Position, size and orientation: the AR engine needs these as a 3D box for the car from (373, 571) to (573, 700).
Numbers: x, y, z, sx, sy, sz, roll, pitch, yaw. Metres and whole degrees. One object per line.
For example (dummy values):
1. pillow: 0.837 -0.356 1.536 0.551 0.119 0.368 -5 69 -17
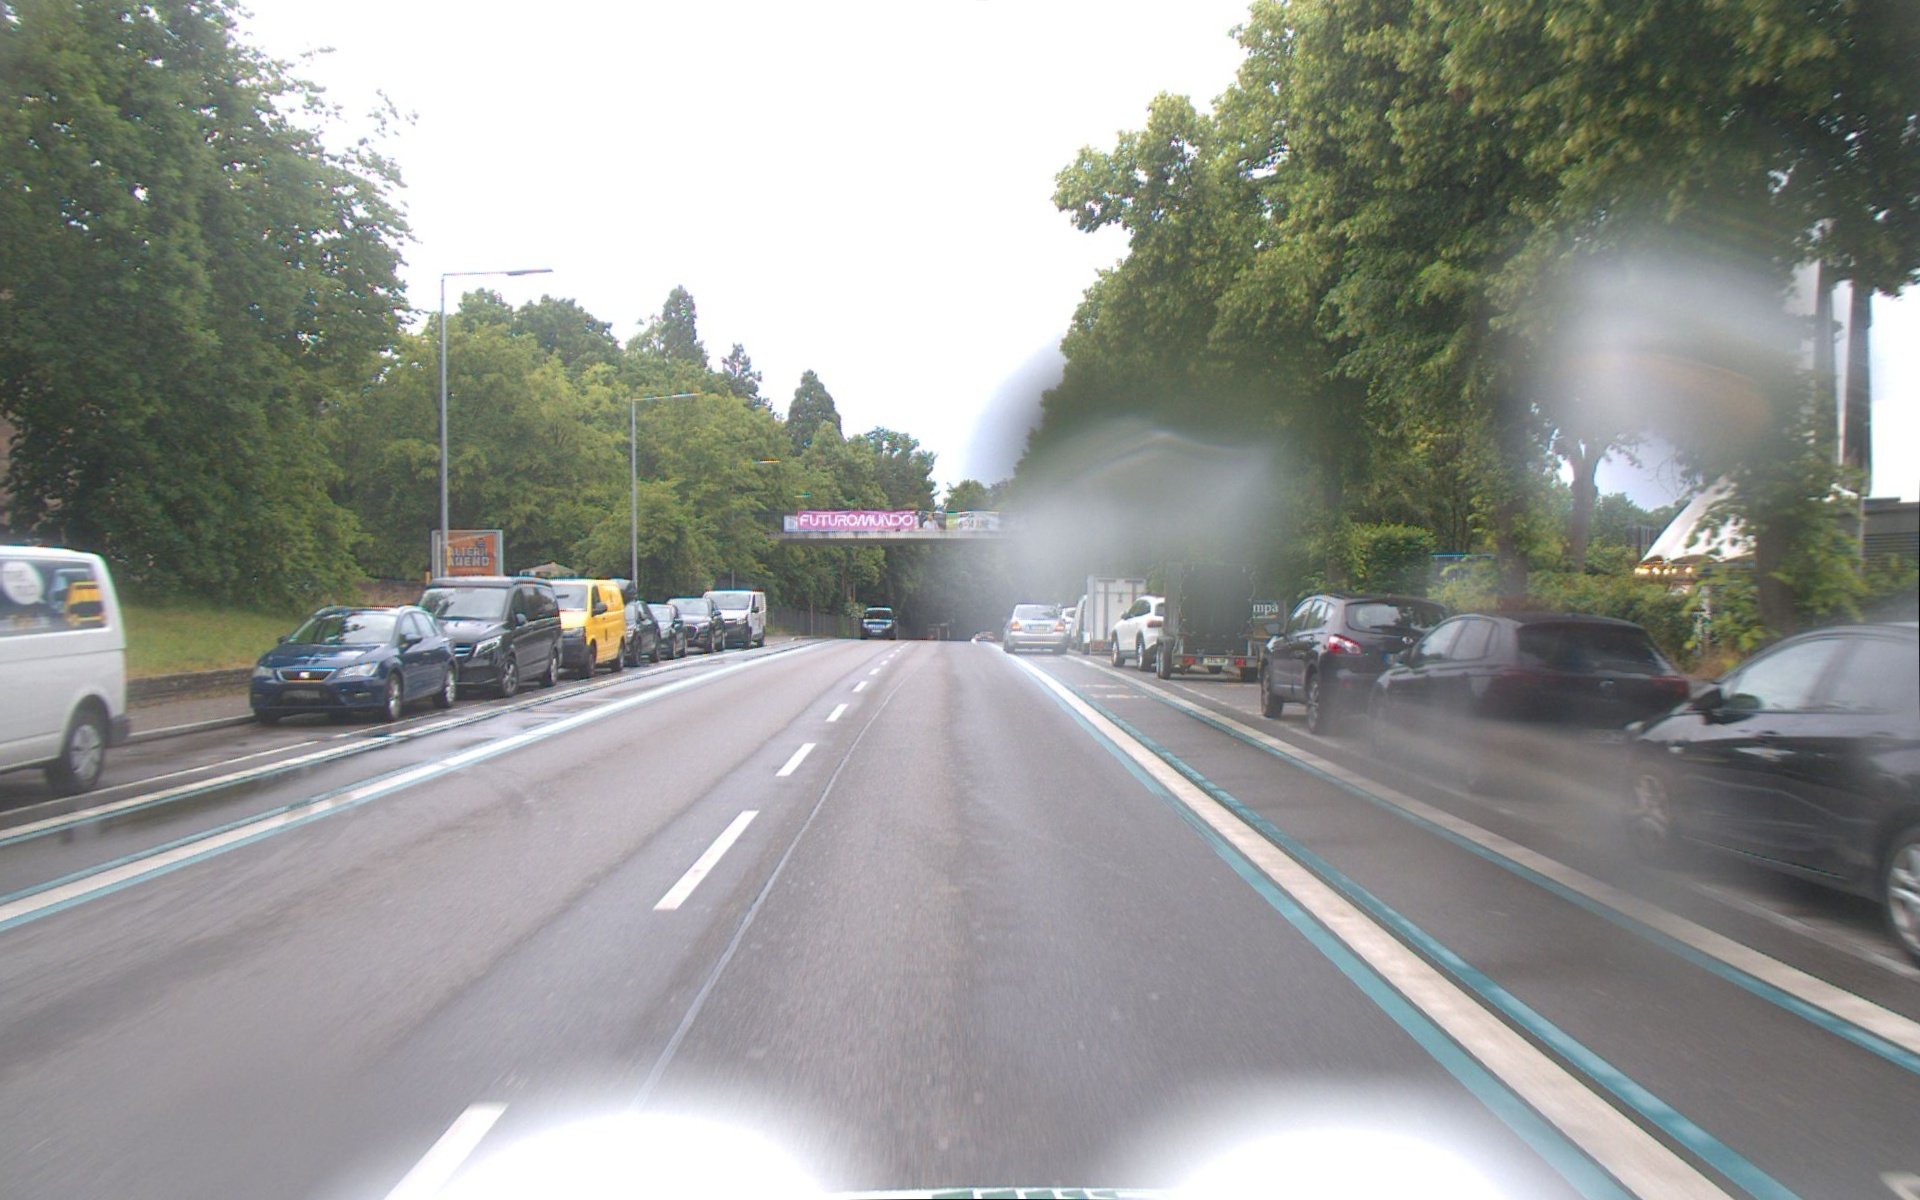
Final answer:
1. car: -8.084 0.498 27.977 1.950 1.980 5.141 0 1 -1

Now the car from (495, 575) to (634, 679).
1. car: -8.082 0.482 34.237 1.845 1.979 4.824 0 1 -2

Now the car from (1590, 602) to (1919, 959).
1. car: 4.921 0.795 8.350 1.696 1.489 4.275 1 1 -2

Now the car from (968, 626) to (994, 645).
1. car: 1.957 3.240 151.689 2.095 1.518 4.501 0 1 5

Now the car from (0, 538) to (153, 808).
1. car: -7.926 0.533 11.932 1.874 1.965 4.927 0 1 -1

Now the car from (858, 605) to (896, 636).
1. car: -4.191 1.011 83.262 1.832 1.499 4.051 -1 0 -4

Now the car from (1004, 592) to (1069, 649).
1. car: 2.259 0.586 49.509 1.696 1.611 4.036 0 0 -1

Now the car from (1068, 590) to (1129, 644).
1. car: 4.516 0.528 54.324 1.695 1.713 4.045 0 0 0

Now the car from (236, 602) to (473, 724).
1. car: -8.083 0.773 22.514 1.696 1.414 4.369 0 1 -2

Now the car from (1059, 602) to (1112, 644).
1. car: 4.608 0.823 61.081 1.695 1.488 4.045 0 0 0

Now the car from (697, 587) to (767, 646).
1. car: -7.975 0.553 58.182 1.721 1.965 4.194 0 1 2

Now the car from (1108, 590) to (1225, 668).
1. car: 4.477 0.594 36.426 1.697 1.611 4.150 0 0 -5

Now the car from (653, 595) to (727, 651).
1. car: -8.234 0.673 50.737 1.833 1.569 4.052 0 1 -4

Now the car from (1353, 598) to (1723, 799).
1. car: 4.877 0.748 14.599 1.696 1.489 4.070 1 0 -2

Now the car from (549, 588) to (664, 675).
1. car: -8.321 0.697 39.315 1.950 1.926 4.053 0 1 -2

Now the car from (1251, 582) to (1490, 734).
1. car: 4.841 0.624 20.117 1.696 1.611 4.152 2 0 -2

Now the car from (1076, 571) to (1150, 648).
1. car: 4.483 0.253 48.975 1.850 2.164 4.045 0 0 0

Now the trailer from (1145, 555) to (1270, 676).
1. trailer: 4.768 0.276 32.316 1.845 2.204 3.808 0 0 0

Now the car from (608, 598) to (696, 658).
1. car: -8.296 0.716 44.816 1.848 1.476 3.980 0 1 -4
